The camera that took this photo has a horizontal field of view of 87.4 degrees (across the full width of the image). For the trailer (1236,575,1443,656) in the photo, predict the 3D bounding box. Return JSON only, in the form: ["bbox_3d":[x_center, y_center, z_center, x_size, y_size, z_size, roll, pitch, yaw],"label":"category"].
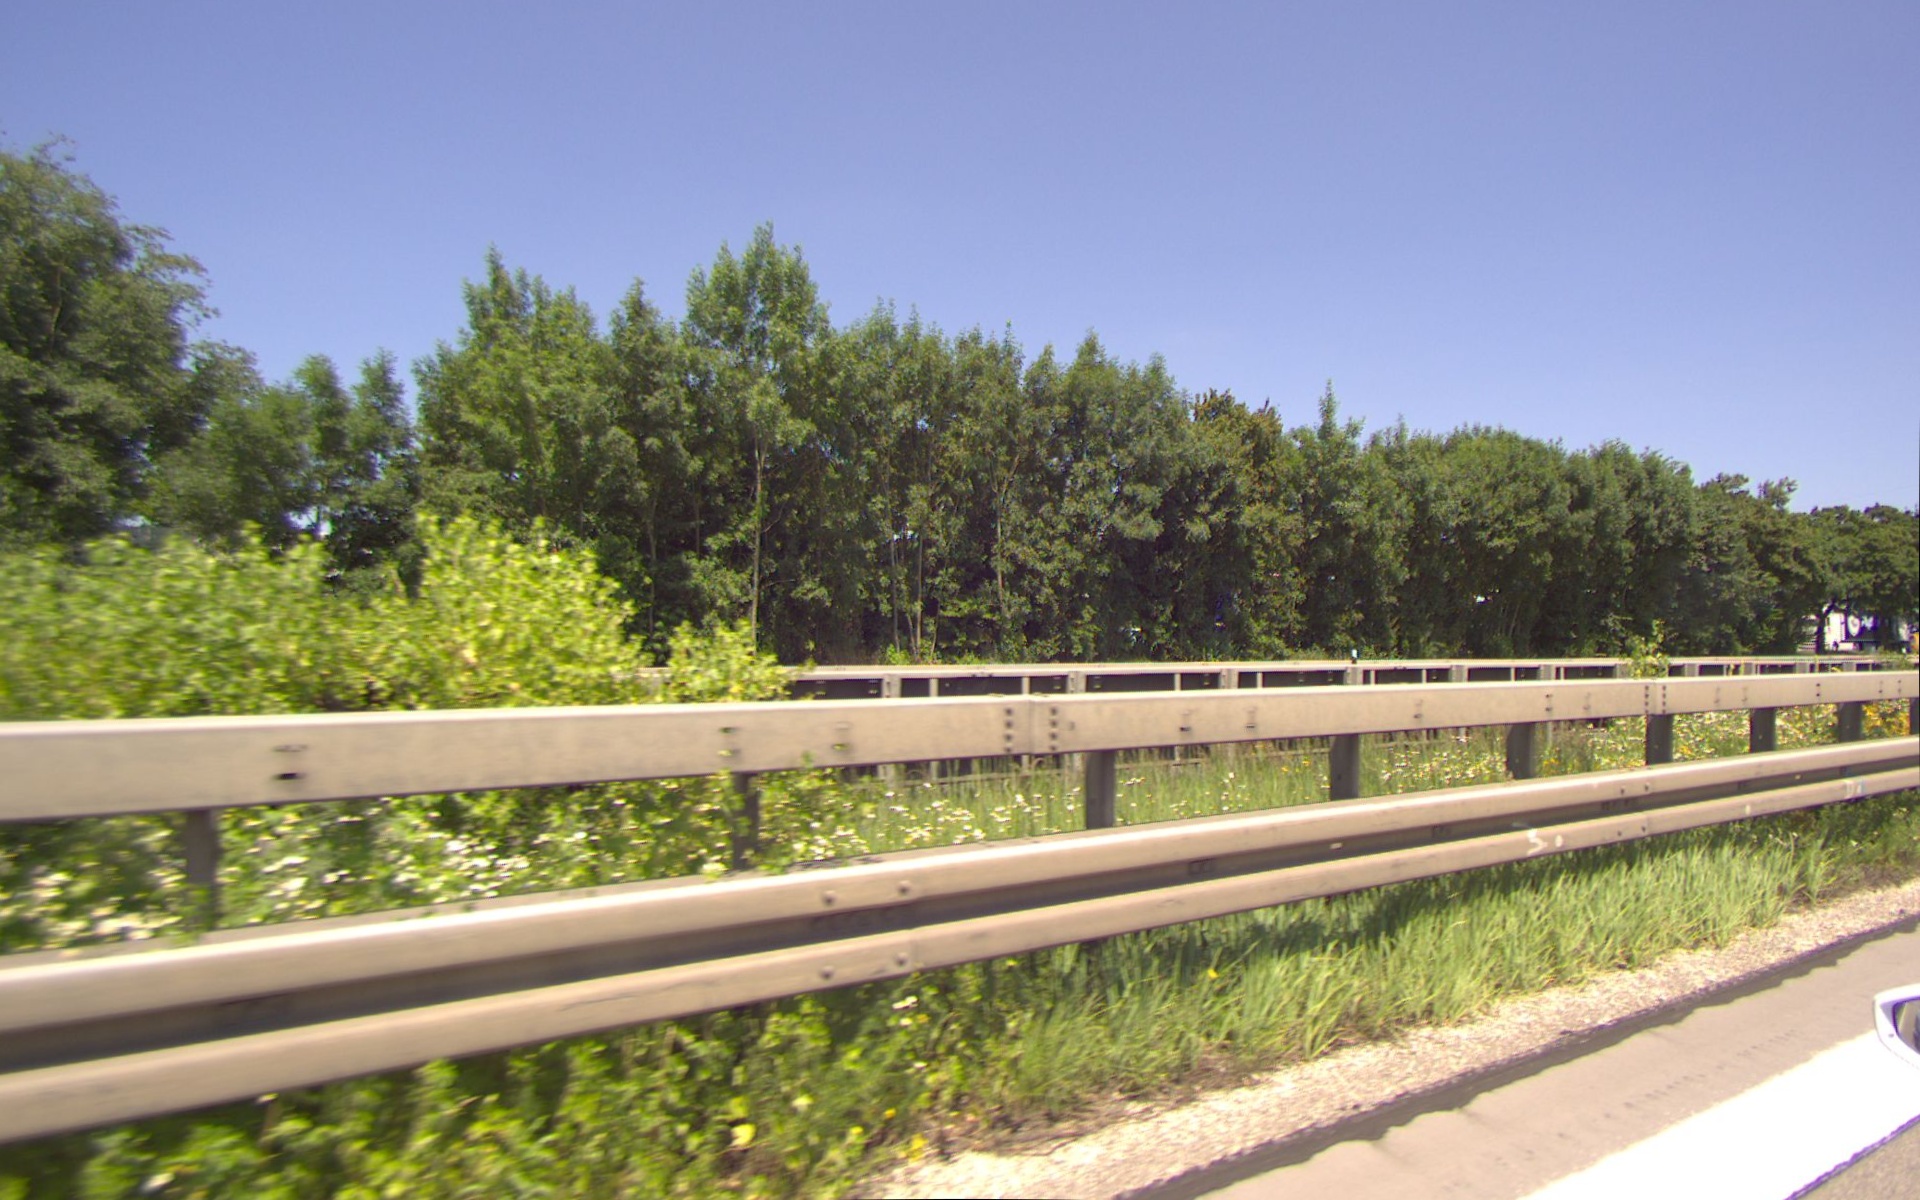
[{"bbox_3d":[19.441,0.872,50.762,13.030,3.746,1.984,2,0,-30],"label":"trailer"}]

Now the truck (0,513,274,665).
[{"bbox_3d":[-21.380,-0.208,25.819,5.952,3.610,1.984,2,0,-30],"label":"truck"}]

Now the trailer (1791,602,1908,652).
[{"bbox_3d":[73.691,2.294,83.083,14.239,3.829,2.755,2,0,-30],"label":"trailer"}]

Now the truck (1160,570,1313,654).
[{"bbox_3d":[13.018,0.635,46.973,7.810,3.696,1.984,2,0,-30],"label":"truck"}]

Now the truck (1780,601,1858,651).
[{"bbox_3d":[68.589,2.103,80.182,6.025,3.833,2.784,2,0,-29],"label":"truck"}]

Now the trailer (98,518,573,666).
[{"bbox_3d":[-16.953,-0.051,28.393,10.977,3.649,1.984,2,0,-30],"label":"trailer"}]
